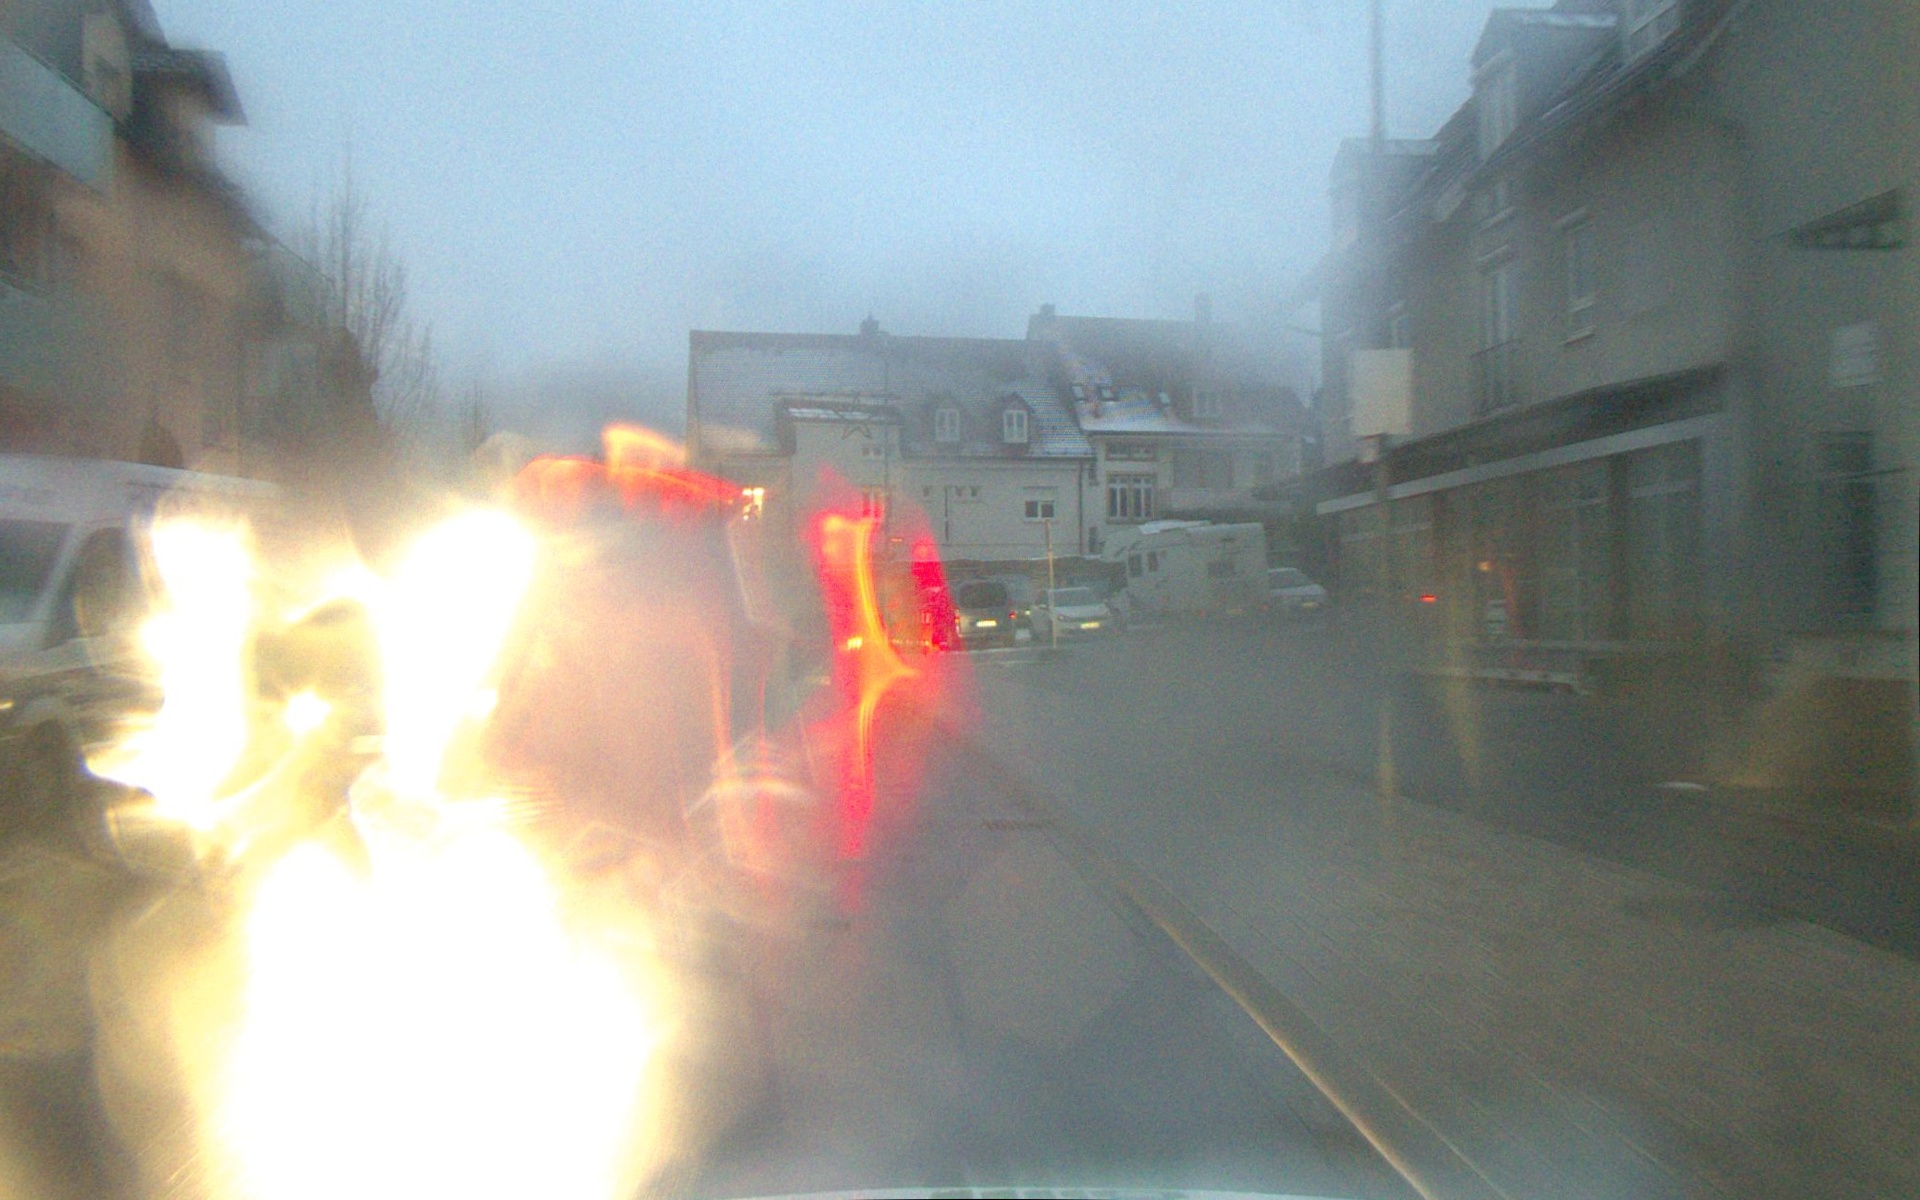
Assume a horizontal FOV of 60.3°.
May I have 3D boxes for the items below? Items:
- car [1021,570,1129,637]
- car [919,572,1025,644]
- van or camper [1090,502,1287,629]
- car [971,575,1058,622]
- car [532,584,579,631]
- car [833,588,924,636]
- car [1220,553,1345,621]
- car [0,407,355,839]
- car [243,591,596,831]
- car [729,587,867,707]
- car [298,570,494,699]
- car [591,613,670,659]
[{"bbox_3d":[3.077,0.128,45.163,1.957,1.639,4.164,-3,-1,-10],"label":"car"},{"bbox_3d":[0.257,0.194,45.012,1.959,1.795,4.337,-3,1,-12],"label":"car"},{"bbox_3d":[6.160,-0.892,45.711,2.610,3.100,6.700,-4,1,-18],"label":"van or camper"},{"bbox_3d":[1.825,-0.076,57.078,1.792,1.487,4.532,-3,1,-14],"label":"car"},{"bbox_3d":[-19.855,0.361,81.038,1.962,2.241,3.980,0,0,-18],"label":"car"},{"bbox_3d":[-2.701,0.376,54.062,1.861,1.488,3.608,-1,1,-23],"label":"car"},{"bbox_3d":[8.776,-0.355,45.289,1.759,1.580,3.986,-7,2,-13],"label":"car"},{"bbox_3d":[-7.141,0.159,13.066,2.436,2.605,6.758,1,-1,-2],"label":"car"},{"bbox_3d":[-4.259,0.786,13.759,1.880,1.592,4.221,-2,0,-6],"label":"car"},{"bbox_3d":[-2.247,0.614,23.515,1.779,1.560,3.996,0,0,-4],"label":"car"},{"bbox_3d":[-8.997,0.515,26.877,1.956,1.876,5.295,1,0,-7],"label":"car"},{"bbox_3d":[-12.352,1.312,61.824,1.969,1.616,3.966,0,0,-26],"label":"car"}]
